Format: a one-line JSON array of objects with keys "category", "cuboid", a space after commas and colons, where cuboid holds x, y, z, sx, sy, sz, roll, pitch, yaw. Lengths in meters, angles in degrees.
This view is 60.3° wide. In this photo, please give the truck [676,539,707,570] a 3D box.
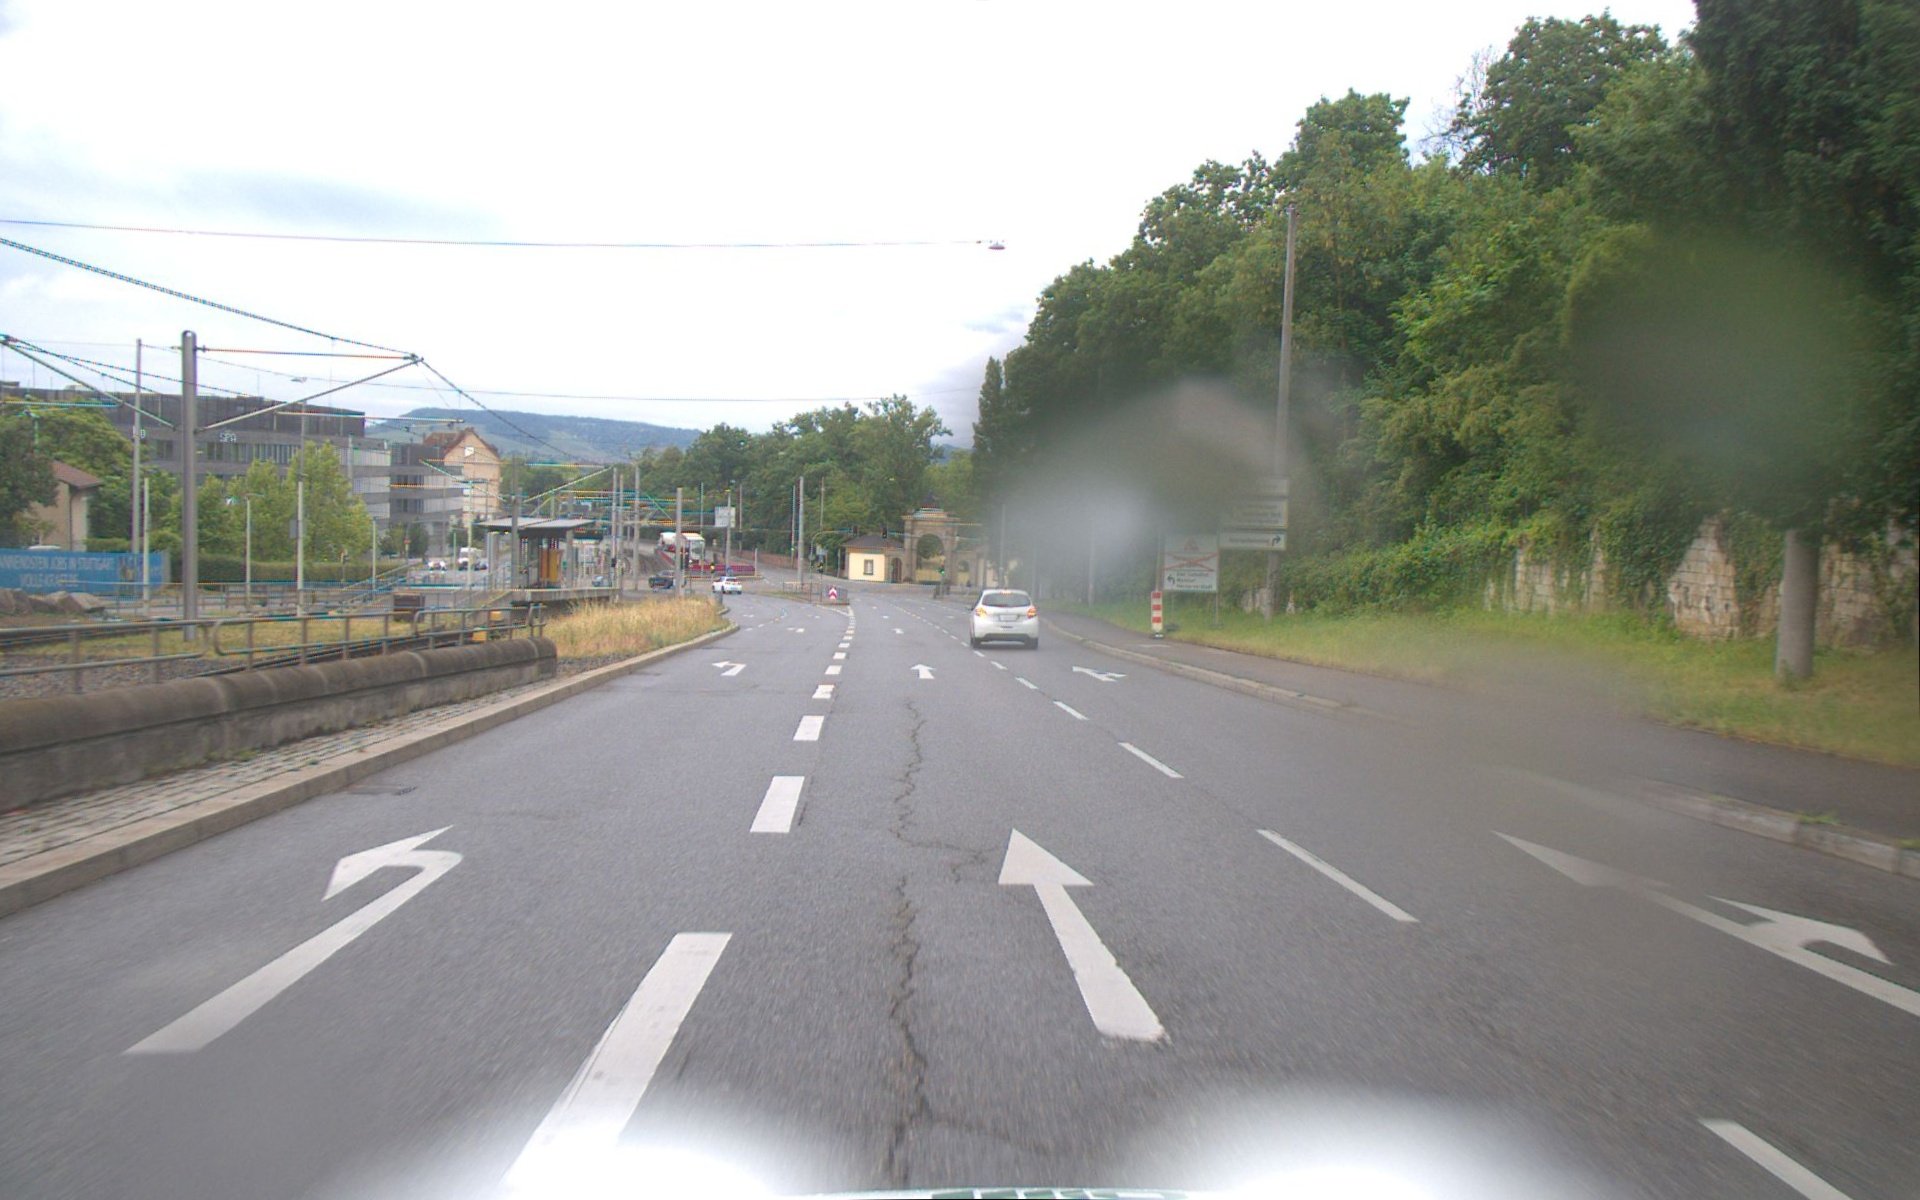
[{"category": "truck", "cuboid": [-42.361, -7.157, 260.670, 3.359, 4.649, 11.238, 4, 0, -16]}]

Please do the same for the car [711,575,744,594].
[{"category": "car", "cuboid": [-20.301, -1.357, 144.369, 1.798, 1.634, 3.970, -1, 1, -24]}]

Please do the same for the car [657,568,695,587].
[{"category": "car", "cuboid": [-26.603, -2.139, 155.124, 1.978, 1.735, 3.949, 1, 1, -36]}]

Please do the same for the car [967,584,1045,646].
[{"category": "car", "cuboid": [1.149, 0.368, 42.712, 1.830, 1.537, 3.899, 0, 0, -1]}]

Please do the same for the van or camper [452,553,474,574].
[{"category": "van or camper", "cuboid": [-57.418, -4.190, 191.104, 1.958, 2.385, 3.989, -1, 1, -11]}]
